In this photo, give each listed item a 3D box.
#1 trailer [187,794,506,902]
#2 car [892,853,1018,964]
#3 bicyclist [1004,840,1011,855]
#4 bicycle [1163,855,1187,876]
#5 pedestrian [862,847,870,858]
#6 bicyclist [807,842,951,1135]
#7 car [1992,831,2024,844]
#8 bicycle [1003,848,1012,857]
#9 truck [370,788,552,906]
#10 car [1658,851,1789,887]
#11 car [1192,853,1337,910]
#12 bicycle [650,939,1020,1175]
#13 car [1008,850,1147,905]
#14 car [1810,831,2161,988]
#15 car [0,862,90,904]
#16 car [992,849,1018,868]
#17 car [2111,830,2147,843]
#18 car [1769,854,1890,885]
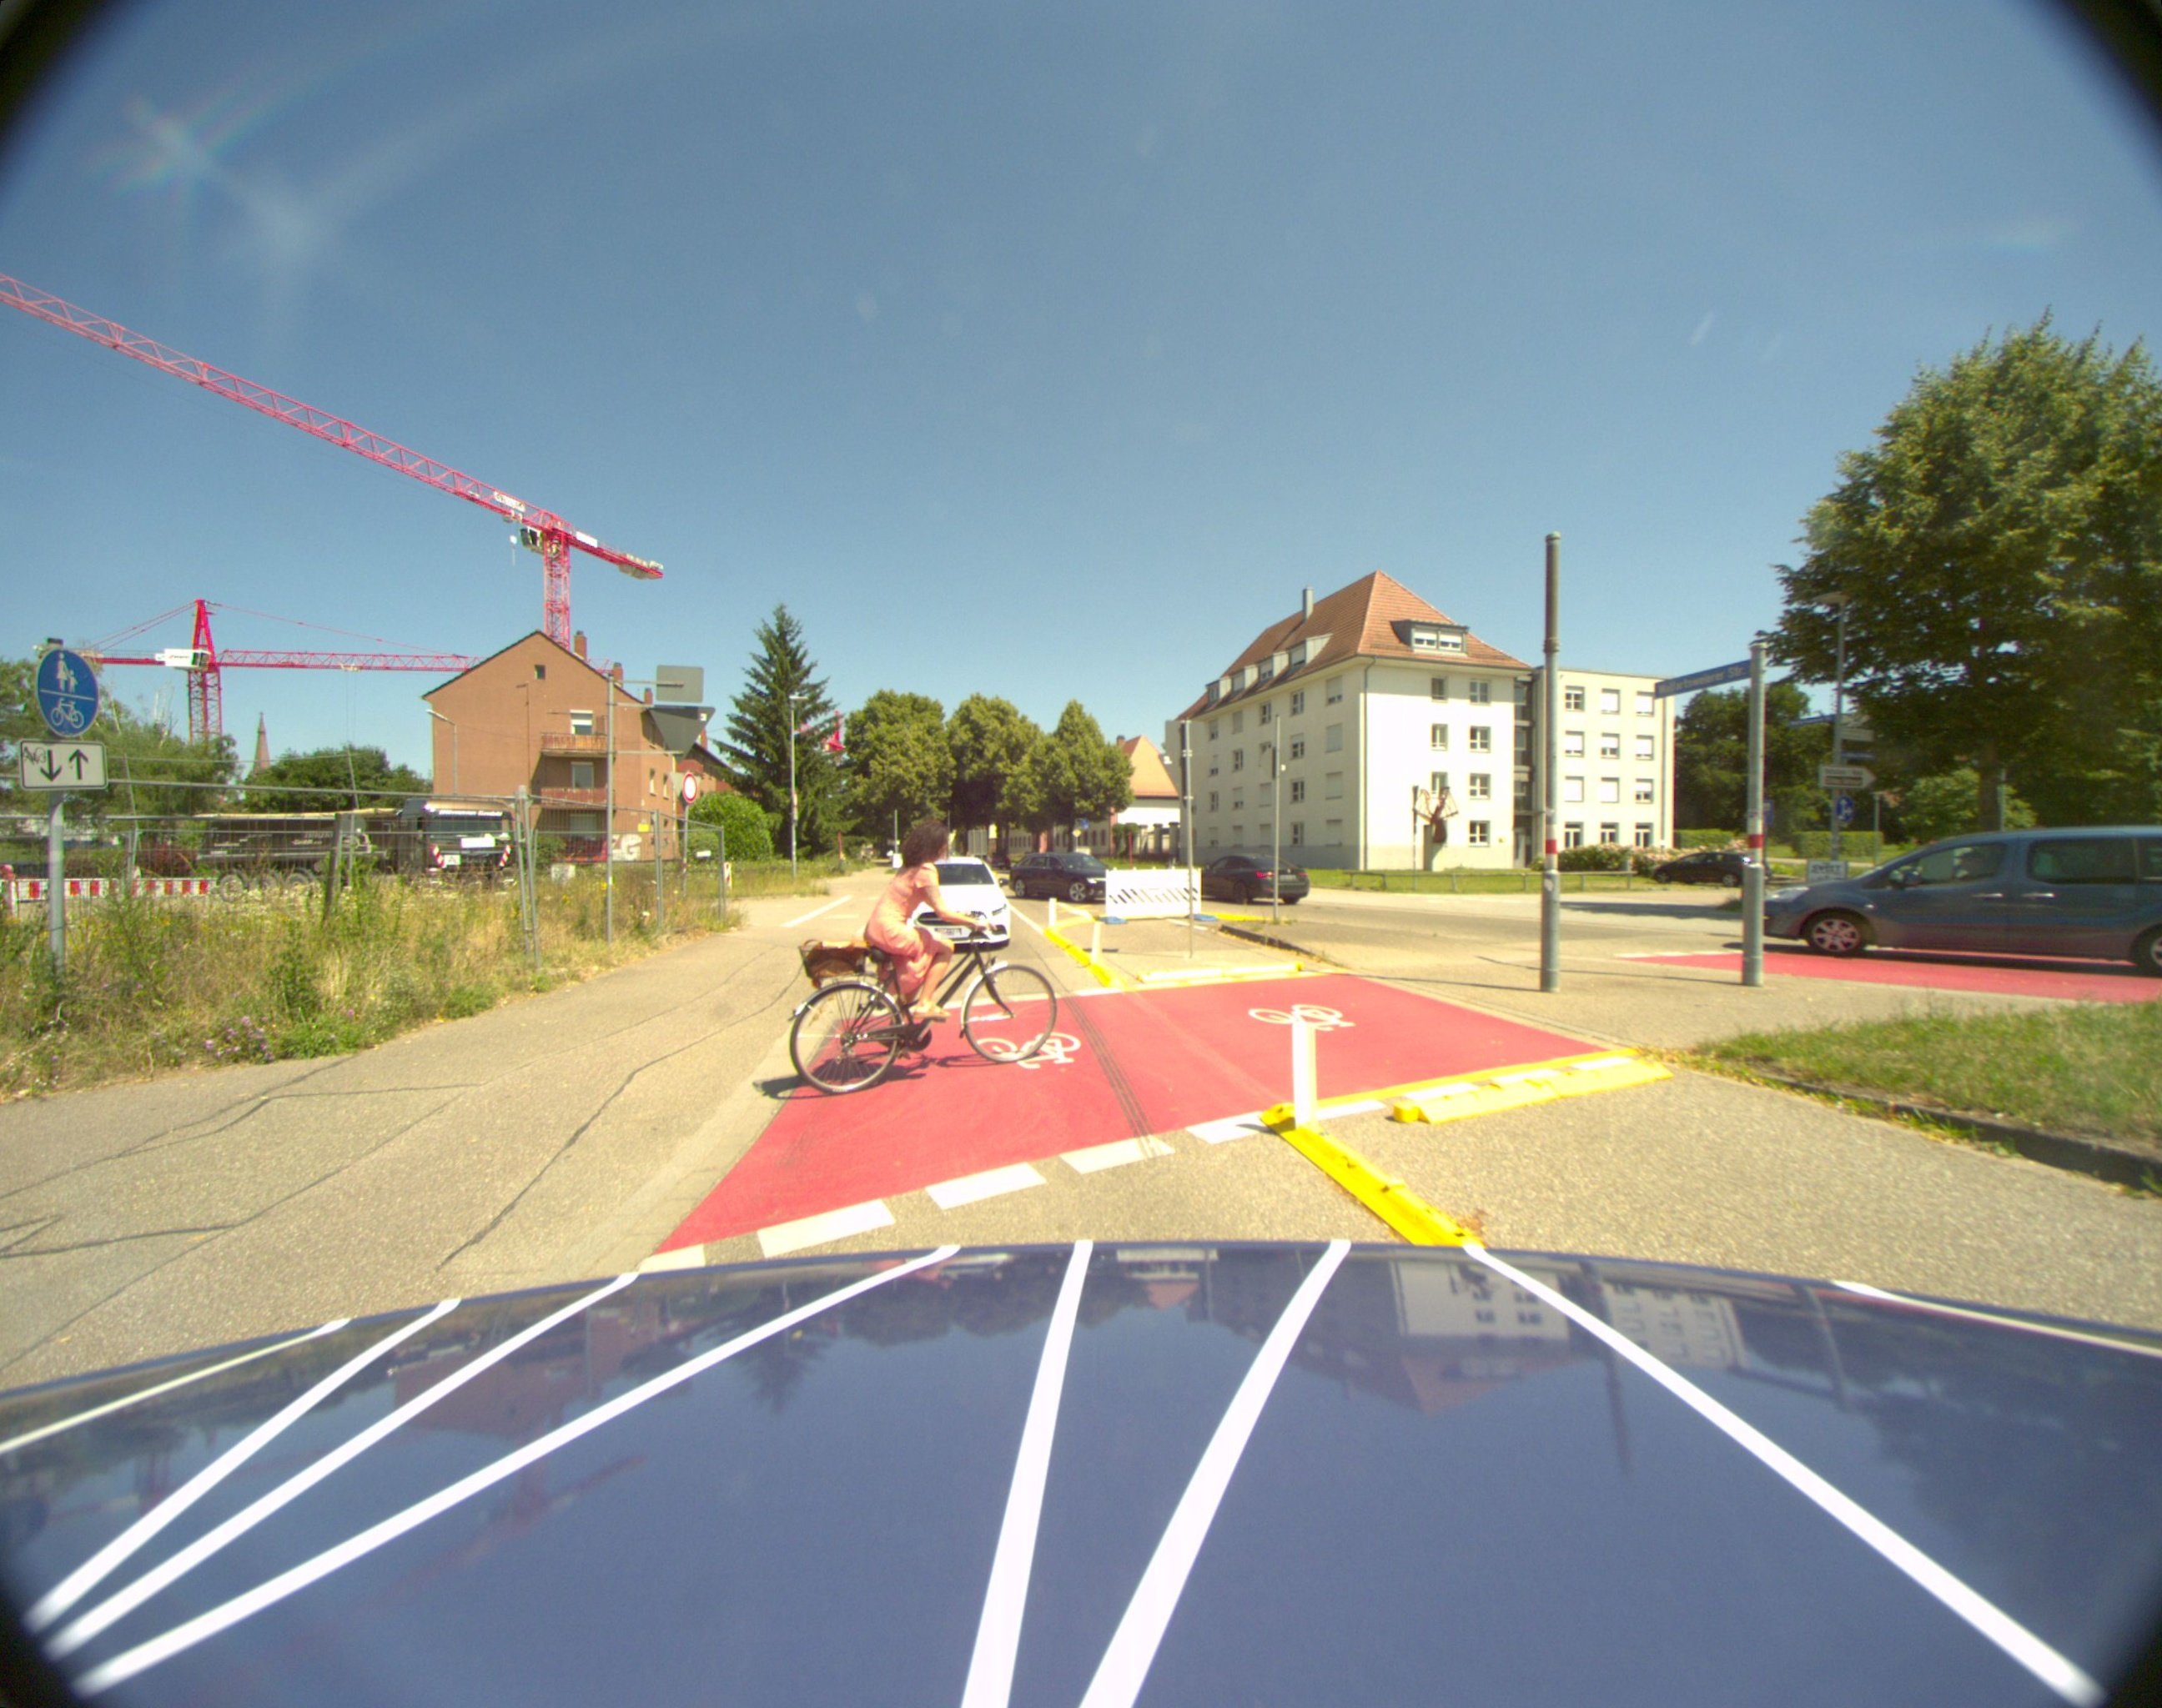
[{"bbox_3d":[-25.870,-0.182,26.975,8.980,3.512,3.166,0,1,8],"label":"trailer"},{"bbox_3d":[-2.132,0.780,13.021,1.781,1.536,3.959,-1,1,-9],"label":"car"},{"bbox_3d":[-7.837,-0.665,80.934,0.569,1.601,0.739,-1,1,-16],"label":"bicyclist"},{"bbox_3d":[5.188,0.625,42.093,0.710,1.018,1.983,-3,2,-10],"label":"bicycle"},{"bbox_3d":[-30.278,-0.251,107.168,1.025,1.509,0.681,-1,1,-10],"label":"pedestrian"},{"bbox_3d":[-1.266,0.756,4.740,0.711,1.655,0.644,-1,2,-29],"label":"bicyclist"},{"bbox_3d":[106.910,-1.896,87.634,3.031,1.408,1.476,-1,1,-21],"label":"car"},{"bbox_3d":[-7.847,-0.147,80.970,0.563,0.910,1.905,-1,1,-16],"label":"bicycle"},{"bbox_3d":[-20.688,-0.219,25.360,4.951,3.512,3.171,0,1,32],"label":"truck"},{"bbox_3d":[26.198,0.564,31.131,1.661,1.319,3.802,-1,1,-16],"label":"car"},{"bbox_3d":[5.101,0.704,21.861,1.725,1.404,4.610,-1,1,-21],"label":"car"},{"bbox_3d":[-1.415,1.125,4.628,2.092,1.052,0.438,0,1,-30],"label":"bicycle"},{"bbox_3d":[-0.217,0.656,23.021,1.805,1.443,4.606,-2,1,-37],"label":"car"},{"bbox_3d":[12.161,0.625,9.625,4.192,1.759,1.693,0,0,45],"label":"car"},{"bbox_3d":[-42.413,1.159,30.540,3.415,1.604,1.370,-1,1,2],"label":"car"},{"bbox_3d":[-5.933,0.337,59.368,1.458,1.382,3.336,-1,1,-15],"label":"car"},{"bbox_3d":[110.125,-1.831,79.871,3.031,1.408,1.476,-1,1,-21],"label":"car"},{"bbox_3d":[32.144,0.636,32.747,1.357,1.210,3.508,-1,1,-16],"label":"car"}]
